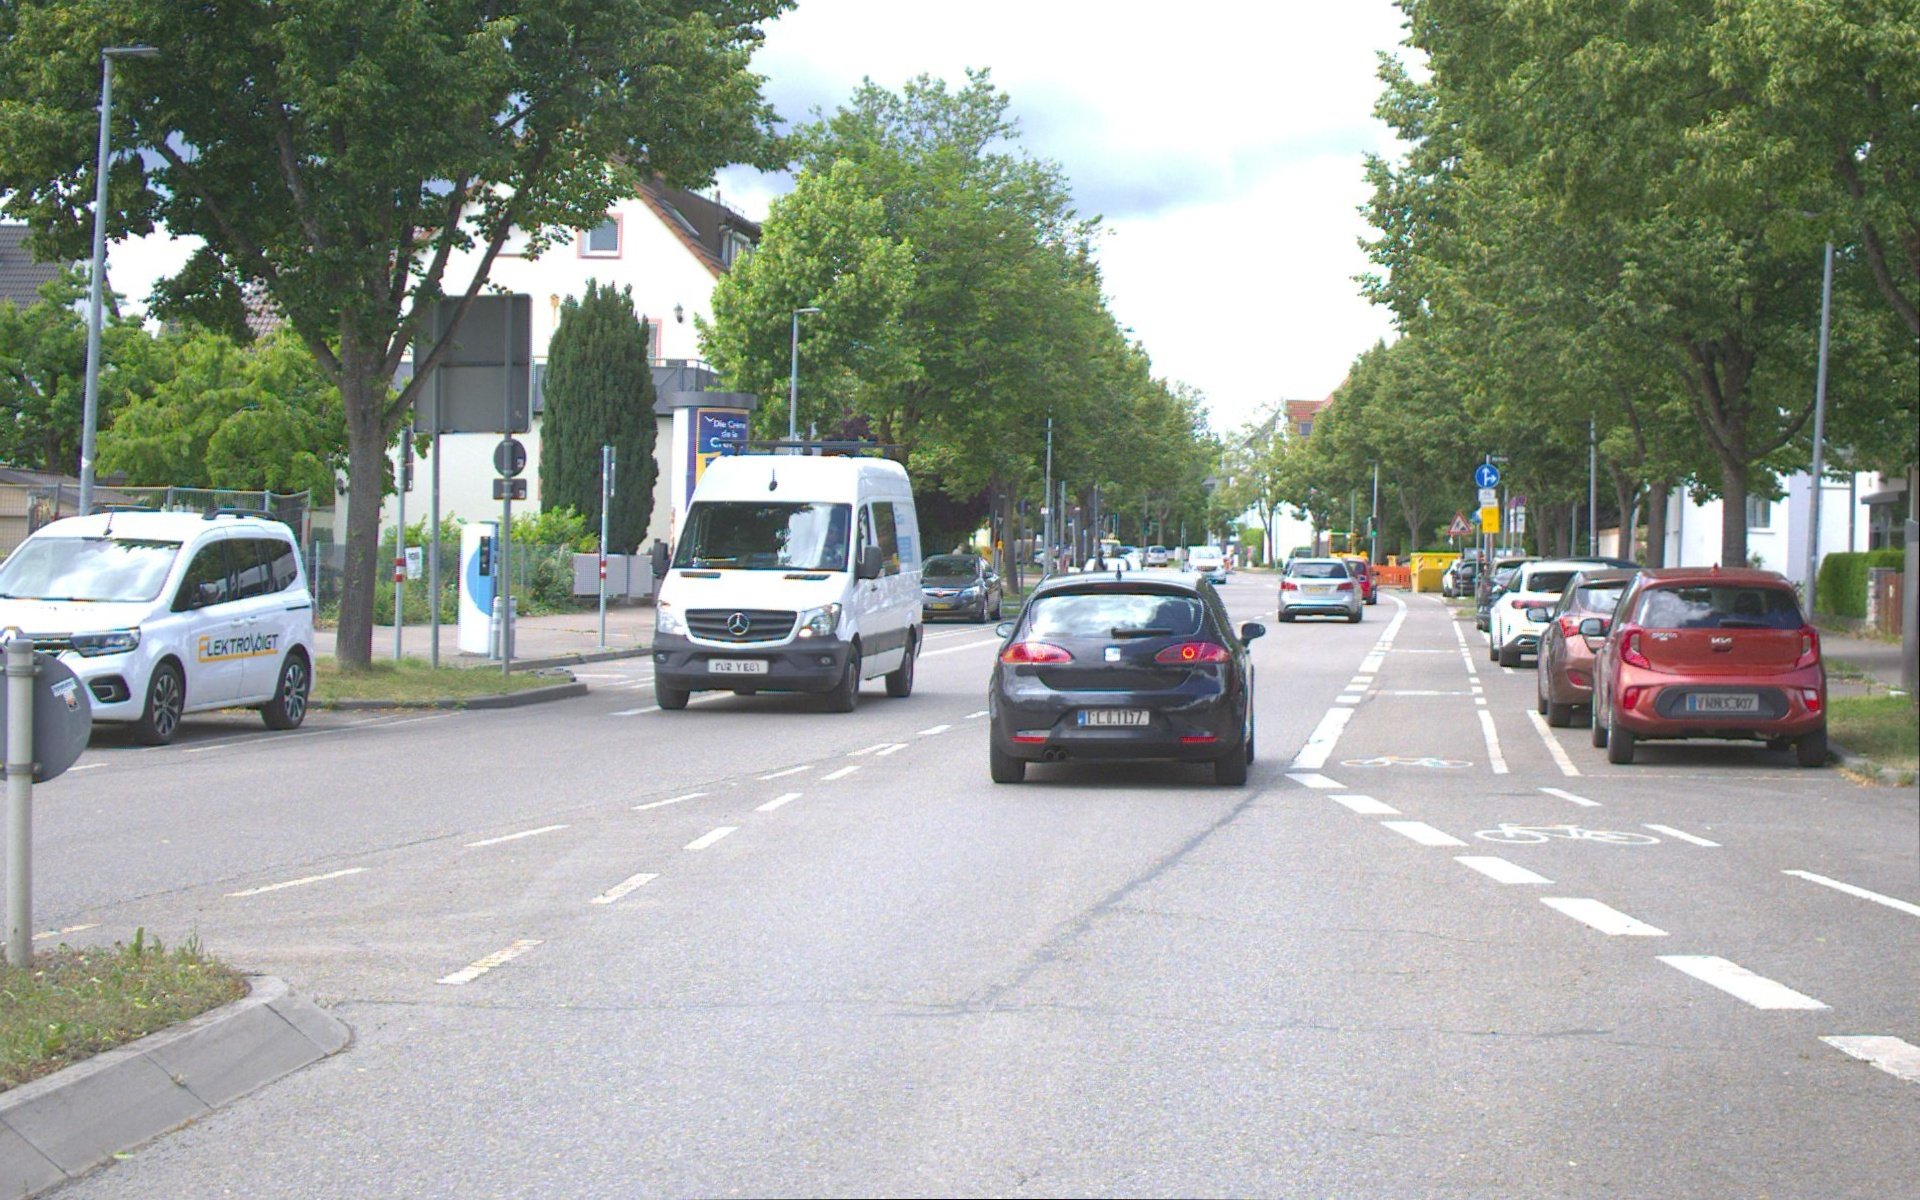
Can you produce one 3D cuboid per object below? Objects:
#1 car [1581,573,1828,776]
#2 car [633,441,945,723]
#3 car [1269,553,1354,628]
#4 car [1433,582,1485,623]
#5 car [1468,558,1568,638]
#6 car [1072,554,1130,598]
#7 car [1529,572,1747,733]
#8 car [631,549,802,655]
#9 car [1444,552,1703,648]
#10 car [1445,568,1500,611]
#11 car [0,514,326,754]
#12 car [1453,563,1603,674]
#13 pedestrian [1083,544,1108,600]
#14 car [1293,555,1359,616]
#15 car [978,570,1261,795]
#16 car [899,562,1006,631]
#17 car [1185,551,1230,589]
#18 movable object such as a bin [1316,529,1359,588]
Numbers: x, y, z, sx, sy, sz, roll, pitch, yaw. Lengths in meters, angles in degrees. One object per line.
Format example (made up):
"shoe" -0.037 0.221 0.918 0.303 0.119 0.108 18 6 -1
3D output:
"car" 5.793 0.551 27.075 1.565 1.450 3.667 1 0 7
"car" -1.660 -0.210 35.840 2.020 2.665 5.803 1 1 9
"car" 8.094 -0.247 79.431 1.906 1.680 3.739 0 1 5
"car" 18.761 0.093 129.270 1.672 1.457 3.999 1 1 5
"car" 11.486 -0.061 70.927 1.722 1.575 4.060 1 1 5
"car" 4.686 -0.791 113.626 1.643 1.415 4.019 0 1 6
"car" 6.382 0.448 32.701 1.653 1.411 4.176 0 1 6
"car" -3.693 0.005 52.858 1.686 1.536 4.130 1 1 9
"car" 10.598 -0.007 59.576 4.217 1.632 1.693 0 1 2
"car" 17.840 -0.393 119.788 1.706 1.449 4.615 1 1 6
"car" -6.781 0.213 27.871 1.771 1.764 4.549 1 1 9
"car" 8.089 0.230 49.267 1.806 1.470 4.811 1 1 6
"pedestrian" 4.152 -0.855 105.557 0.543 1.675 0.749 3 2 16
"car" 11.555 -0.474 108.779 1.907 1.875 3.999 1 1 4
"car" 1.192 0.516 24.177 1.819 1.433 3.739 0 1 5
"car" -0.136 -0.094 76.140 1.731 1.464 4.300 0 1 8
"car" 12.386 -1.501 172.011 1.967 1.824 4.817 1 1 7
"movable object such as a bin" 16.686 -1.840 152.253 1.768 2.565 3.739 1 1 5
